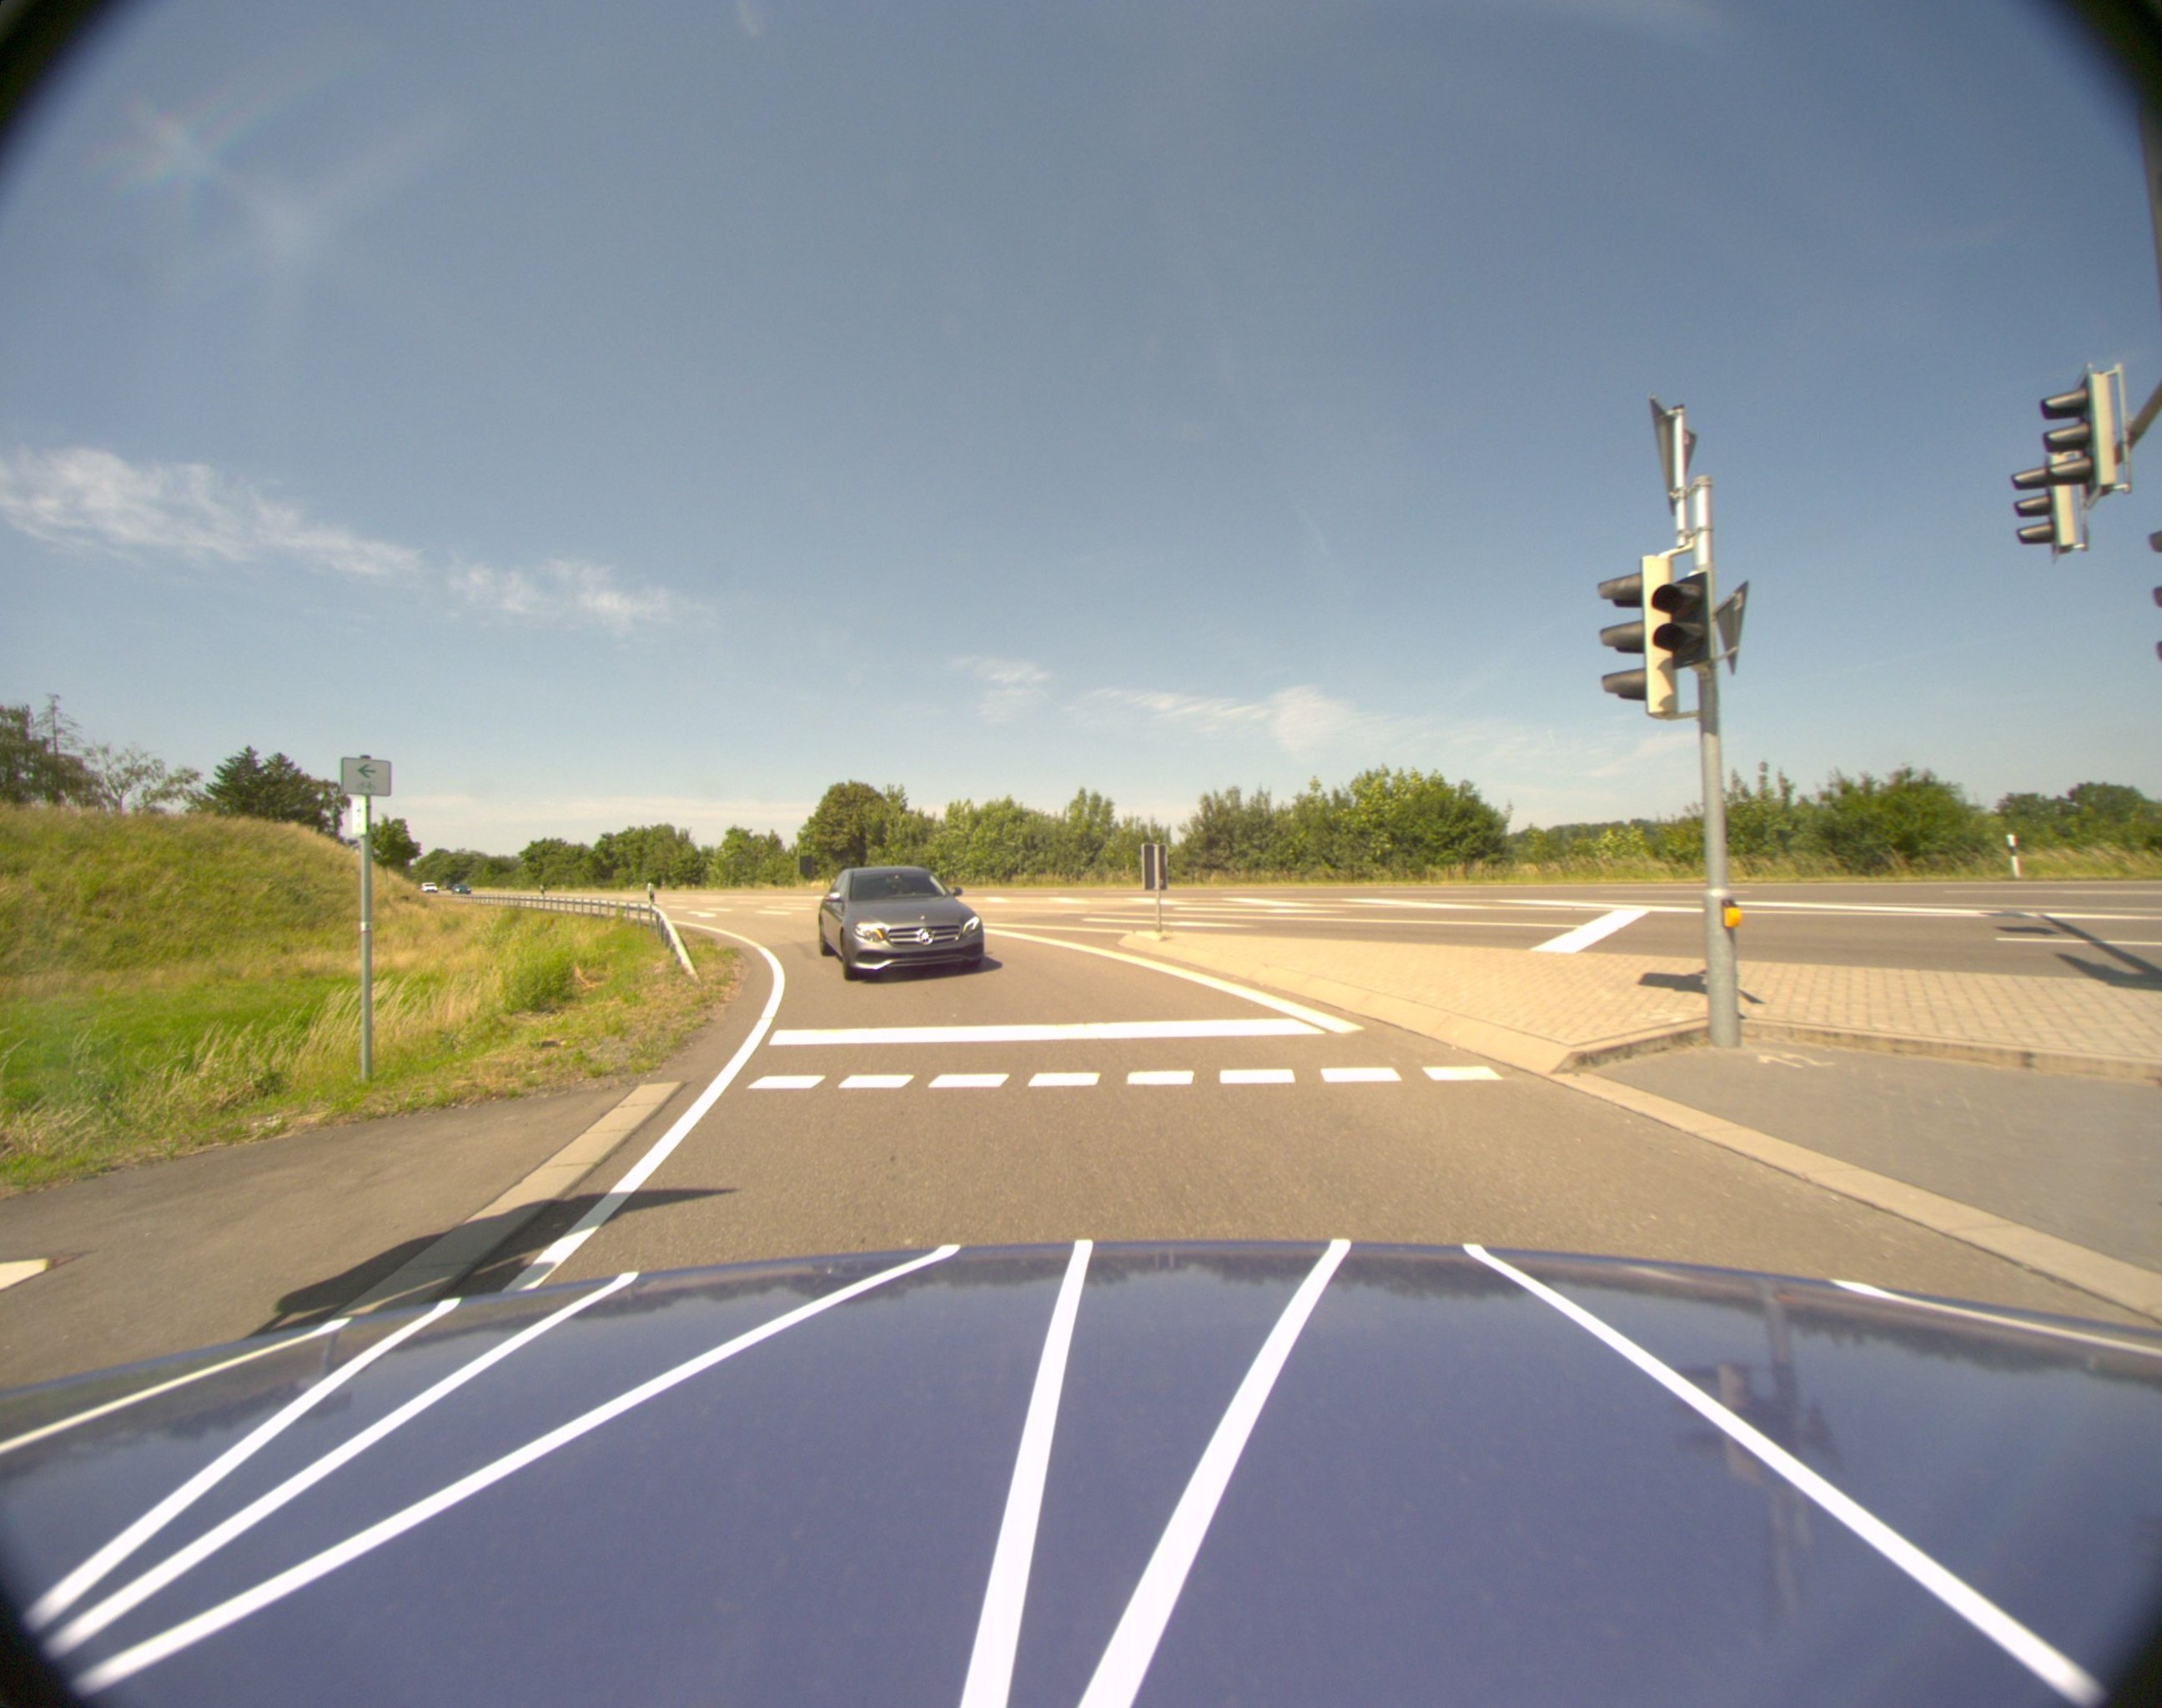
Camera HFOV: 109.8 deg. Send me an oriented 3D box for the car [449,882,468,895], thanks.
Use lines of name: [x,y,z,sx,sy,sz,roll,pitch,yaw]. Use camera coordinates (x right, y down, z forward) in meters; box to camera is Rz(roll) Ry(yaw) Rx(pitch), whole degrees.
car: [-89.477,4.969,109.262,1.806,1.674,3.989,-3,2,-43]

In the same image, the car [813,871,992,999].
car: [-2.955,1.043,11.753,1.897,1.439,4.517,-2,0,-23]
